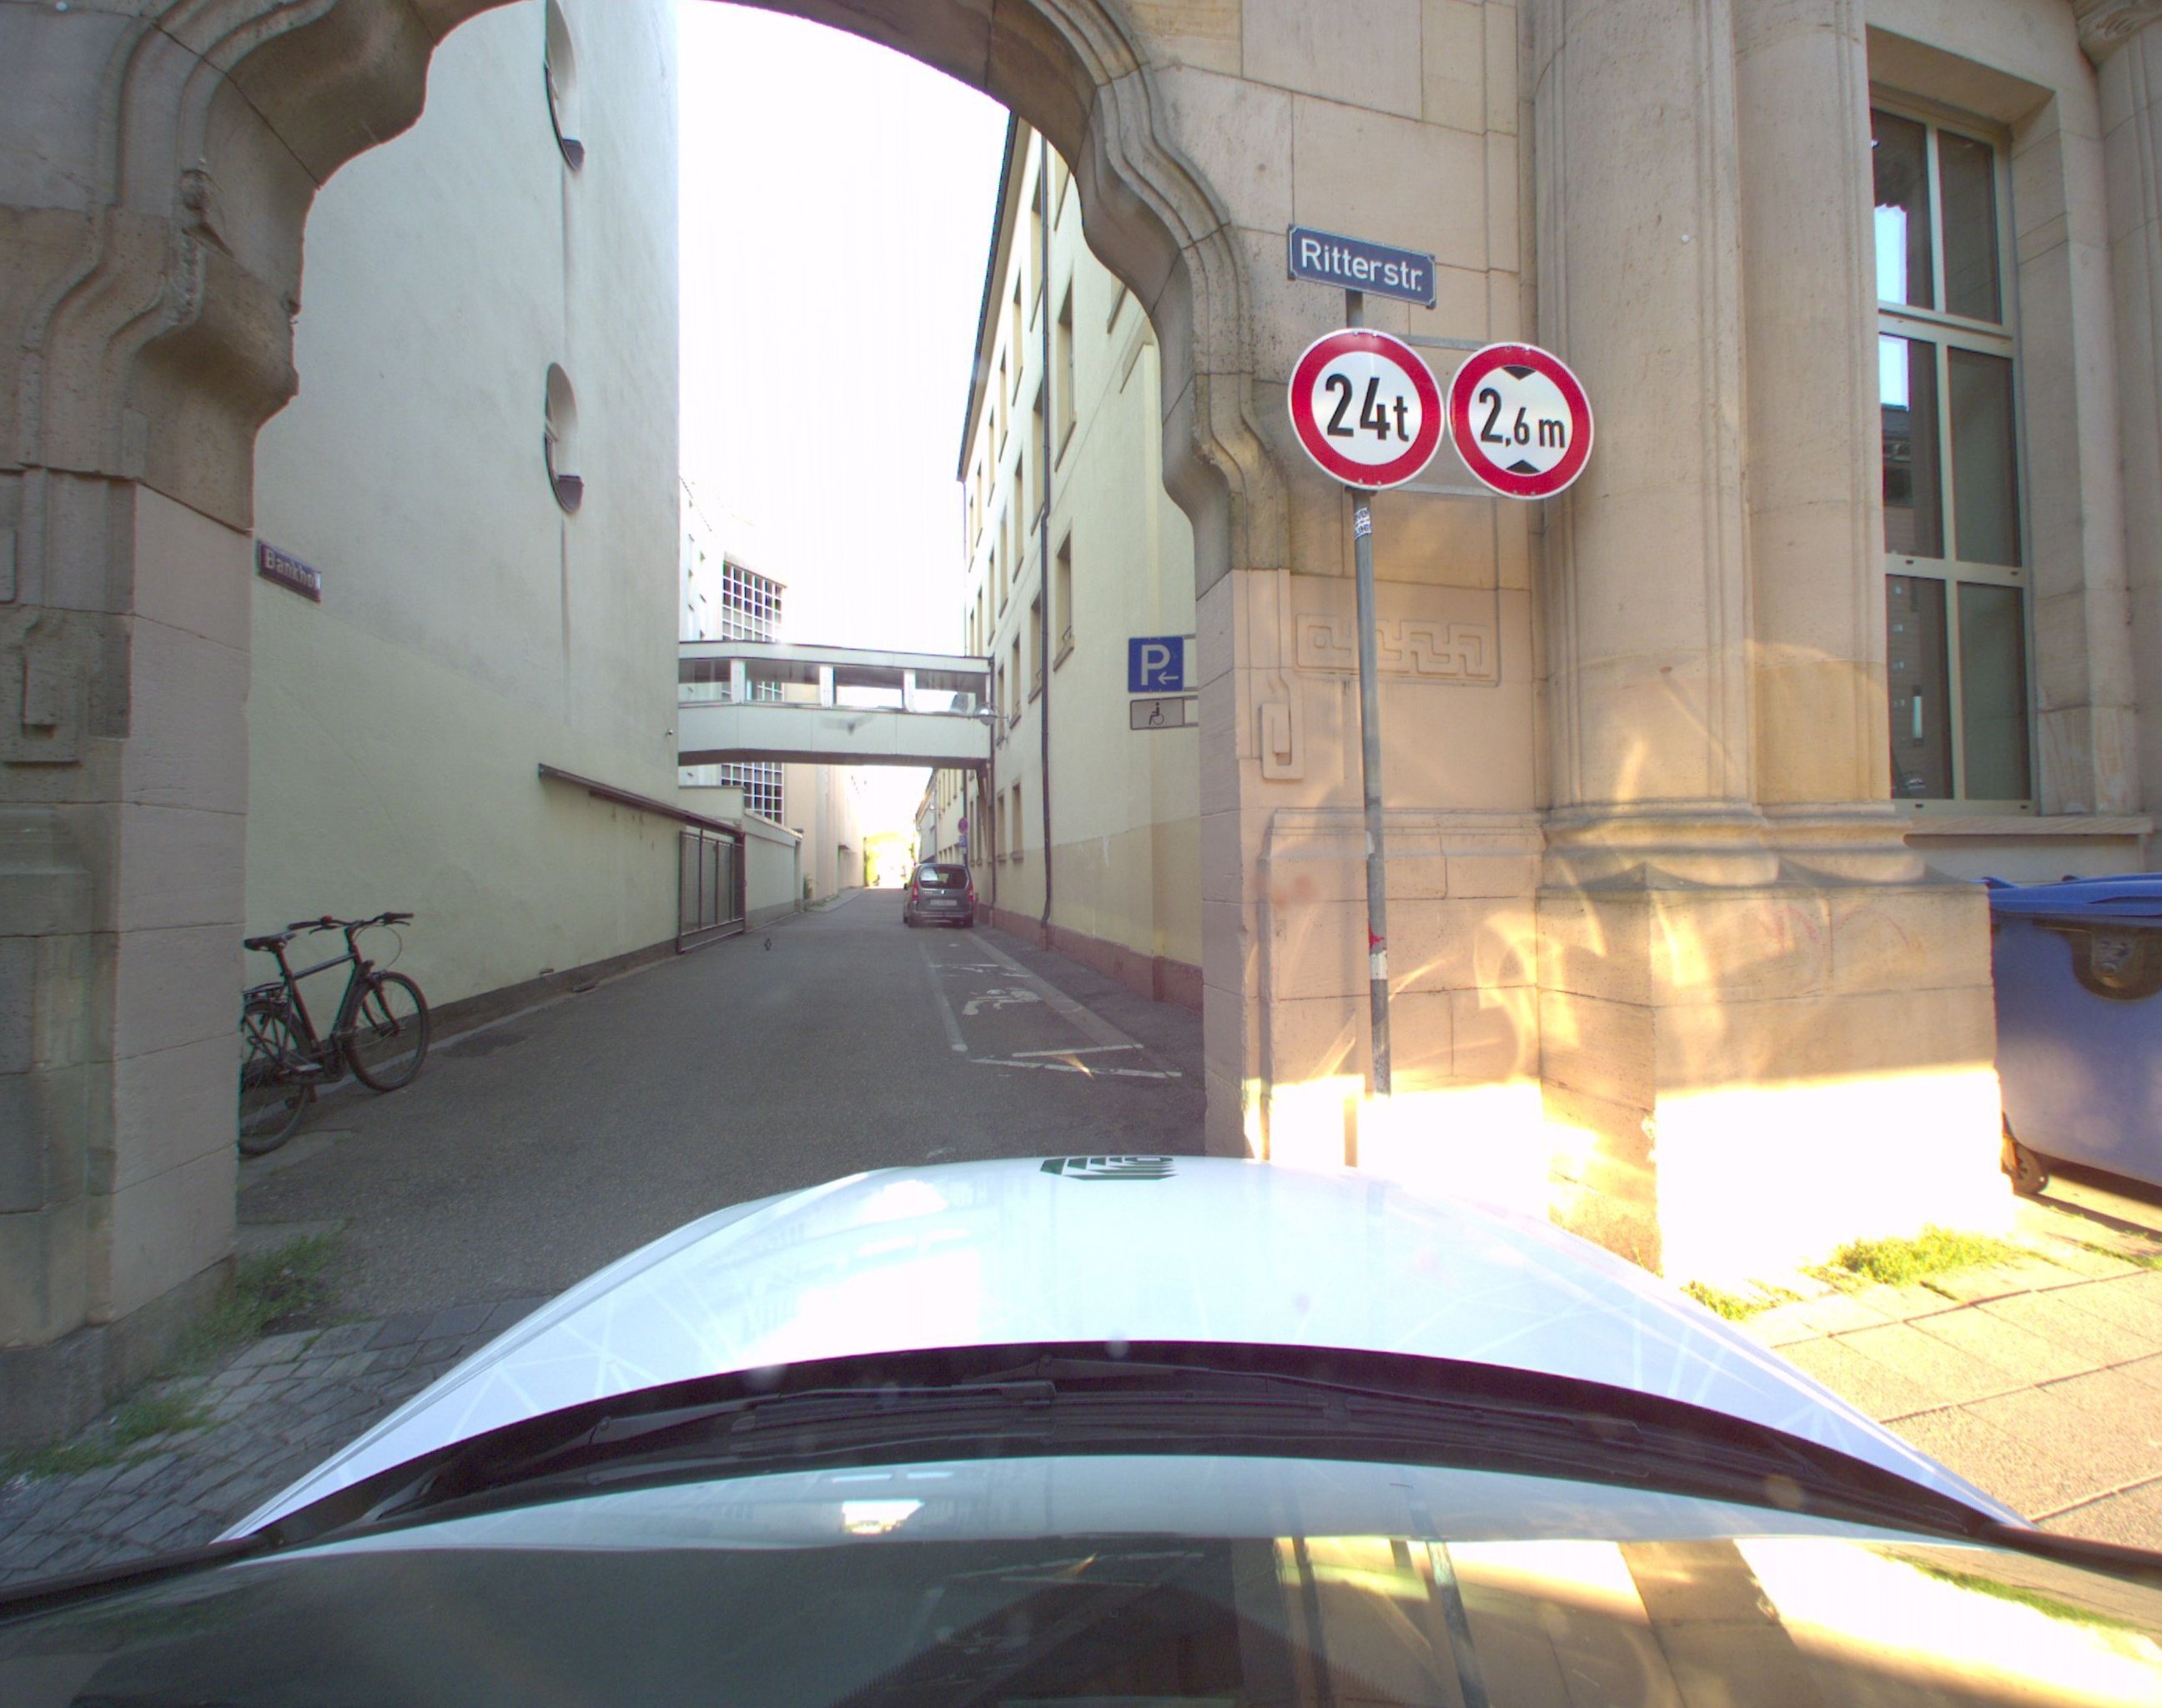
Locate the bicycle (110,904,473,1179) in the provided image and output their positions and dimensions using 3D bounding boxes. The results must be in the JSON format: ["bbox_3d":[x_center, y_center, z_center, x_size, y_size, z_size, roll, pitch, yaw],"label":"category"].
[{"bbox_3d":[-4.105,0.865,4.446,0.595,1.079,1.748,0,0,-13],"label":"bicycle"}]

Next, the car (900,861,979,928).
[{"bbox_3d":[-4.276,1.146,24.156,1.859,1.756,4.140,3,-2,-16],"label":"car"}]

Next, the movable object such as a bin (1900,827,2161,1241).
[{"bbox_3d":[4.394,0.631,3.270,1.183,1.474,1.074,-1,1,-9],"label":"movable object such as a bin"}]
